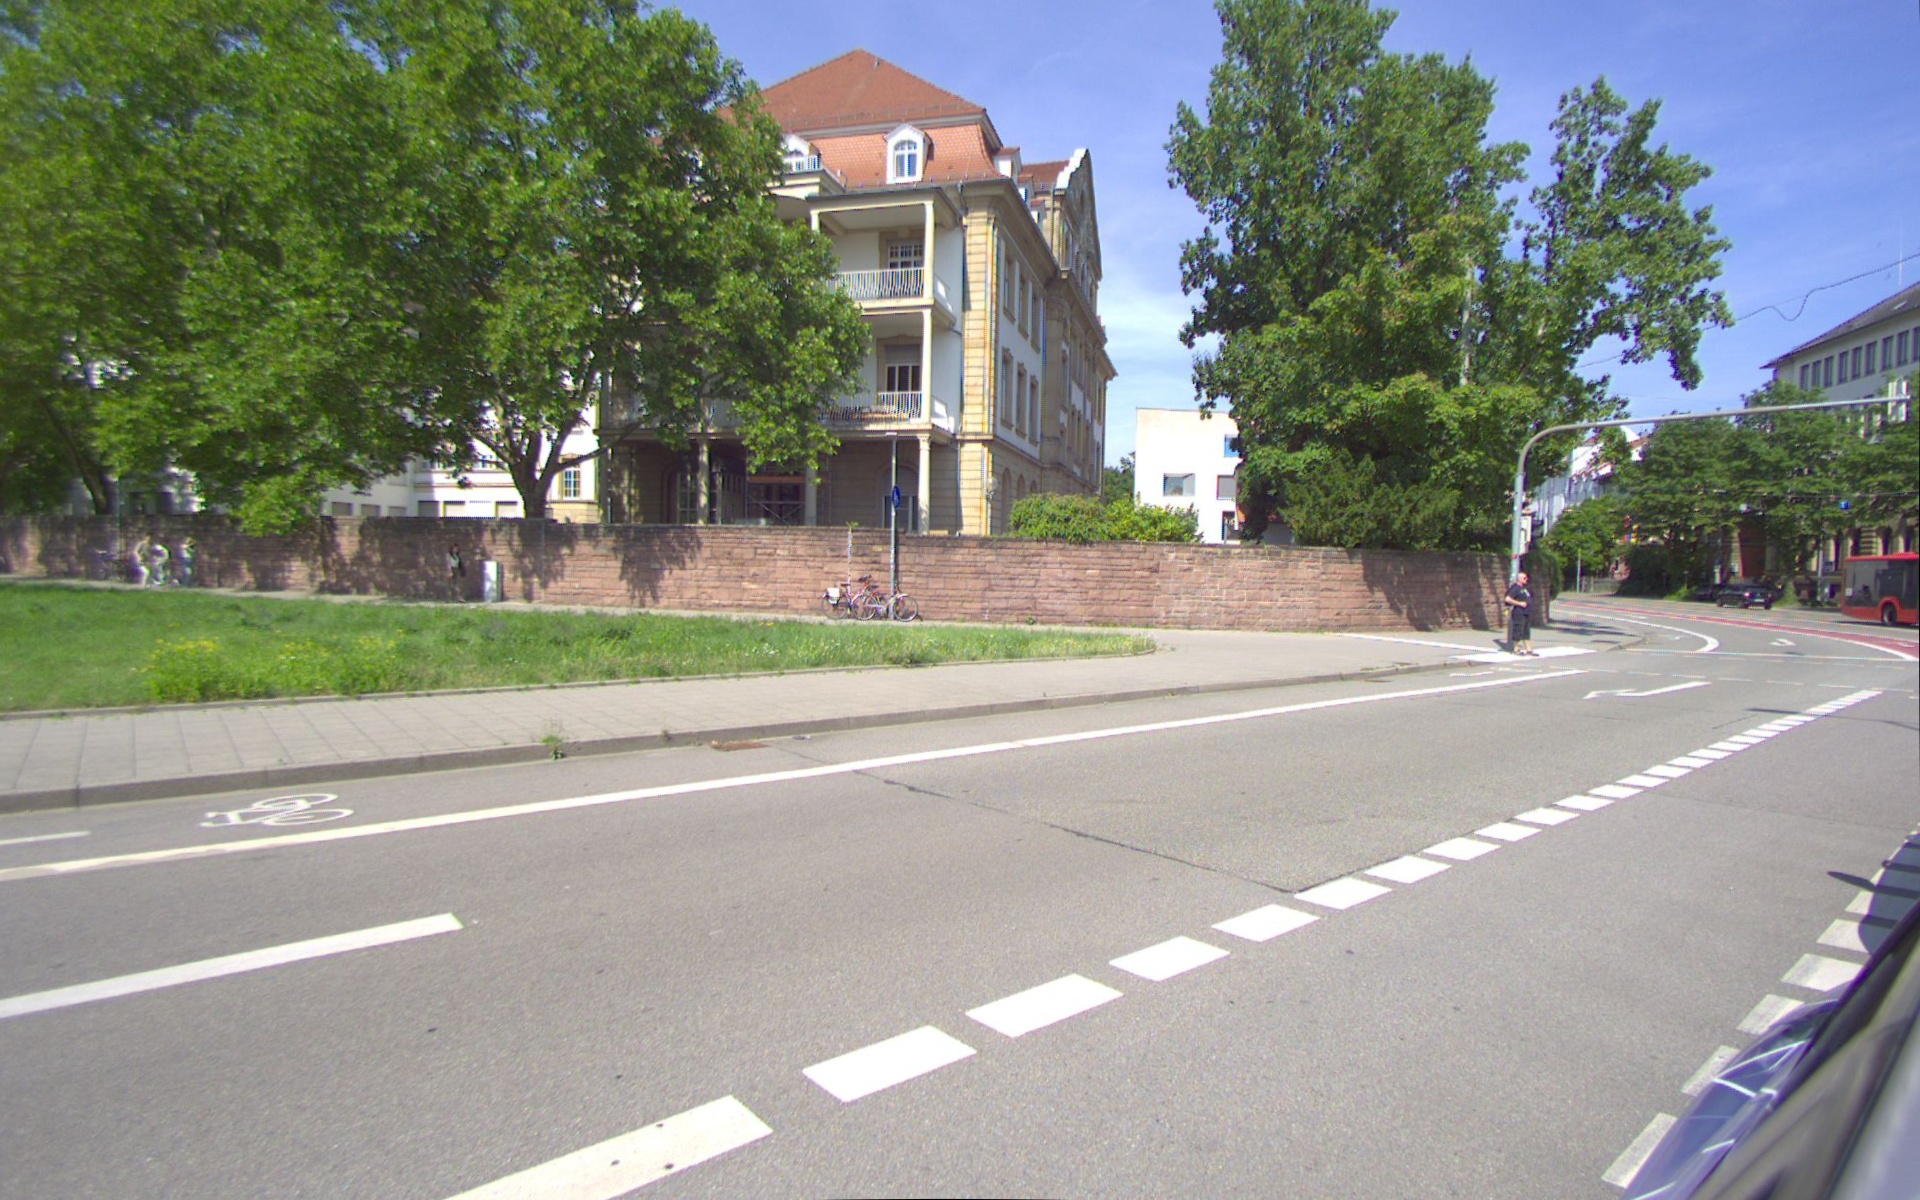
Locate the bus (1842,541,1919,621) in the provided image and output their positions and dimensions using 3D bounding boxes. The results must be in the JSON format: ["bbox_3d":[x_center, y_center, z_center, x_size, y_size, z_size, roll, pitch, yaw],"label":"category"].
[{"bbox_3d":[38.735,-0.737,37.969,3.087,3.133,12.362,0,1,14],"label":"bus"}]

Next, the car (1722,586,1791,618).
[{"bbox_3d":[49.035,0.089,62.393,1.973,1.915,3.978,0,1,17],"label":"car"}]

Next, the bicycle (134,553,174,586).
[{"bbox_3d":[-26.571,-1.008,33.362,1.432,1.046,0.444,3,2,24],"label":"bicycle"}]

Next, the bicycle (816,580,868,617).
[{"bbox_3d":[-2.940,-0.026,25.214,1.202,0.894,0.395,1,2,-21],"label":"bicycle"}]

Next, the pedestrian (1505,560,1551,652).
[{"bbox_3d":[12.867,0.116,22.918,0.790,2.038,0.608,2,2,35],"label":"pedestrian"}]

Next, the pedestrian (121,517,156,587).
[{"bbox_3d":[-24.143,-1.418,29.737,0.586,2.038,0.522,1,2,9],"label":"pedestrian"}]

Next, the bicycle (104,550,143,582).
[{"bbox_3d":[-28.281,-1.158,34.206,1.432,1.046,0.444,3,2,24],"label":"bicycle"}]

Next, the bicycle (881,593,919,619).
[{"bbox_3d":[-1.510,0.140,25.366,0.929,0.609,0.275,2,2,-2],"label":"bicycle"}]

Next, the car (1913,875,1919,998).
[{"bbox_3d":[5.556,0.657,4.228,4.077,1.605,1.688,0,3,-39],"label":"car"}]

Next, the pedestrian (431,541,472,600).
[{"bbox_3d":[-13.895,-0.805,27.652,0.900,1.567,0.501,2,2,13],"label":"pedestrian"}]

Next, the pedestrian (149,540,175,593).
[{"bbox_3d":[-24.735,-1.049,31.382,0.700,1.597,0.516,3,3,41],"label":"pedestrian"}]

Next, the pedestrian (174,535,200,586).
[{"bbox_3d":[-24.386,-1.257,31.929,0.700,1.597,0.516,3,3,41],"label":"pedestrian"}]
